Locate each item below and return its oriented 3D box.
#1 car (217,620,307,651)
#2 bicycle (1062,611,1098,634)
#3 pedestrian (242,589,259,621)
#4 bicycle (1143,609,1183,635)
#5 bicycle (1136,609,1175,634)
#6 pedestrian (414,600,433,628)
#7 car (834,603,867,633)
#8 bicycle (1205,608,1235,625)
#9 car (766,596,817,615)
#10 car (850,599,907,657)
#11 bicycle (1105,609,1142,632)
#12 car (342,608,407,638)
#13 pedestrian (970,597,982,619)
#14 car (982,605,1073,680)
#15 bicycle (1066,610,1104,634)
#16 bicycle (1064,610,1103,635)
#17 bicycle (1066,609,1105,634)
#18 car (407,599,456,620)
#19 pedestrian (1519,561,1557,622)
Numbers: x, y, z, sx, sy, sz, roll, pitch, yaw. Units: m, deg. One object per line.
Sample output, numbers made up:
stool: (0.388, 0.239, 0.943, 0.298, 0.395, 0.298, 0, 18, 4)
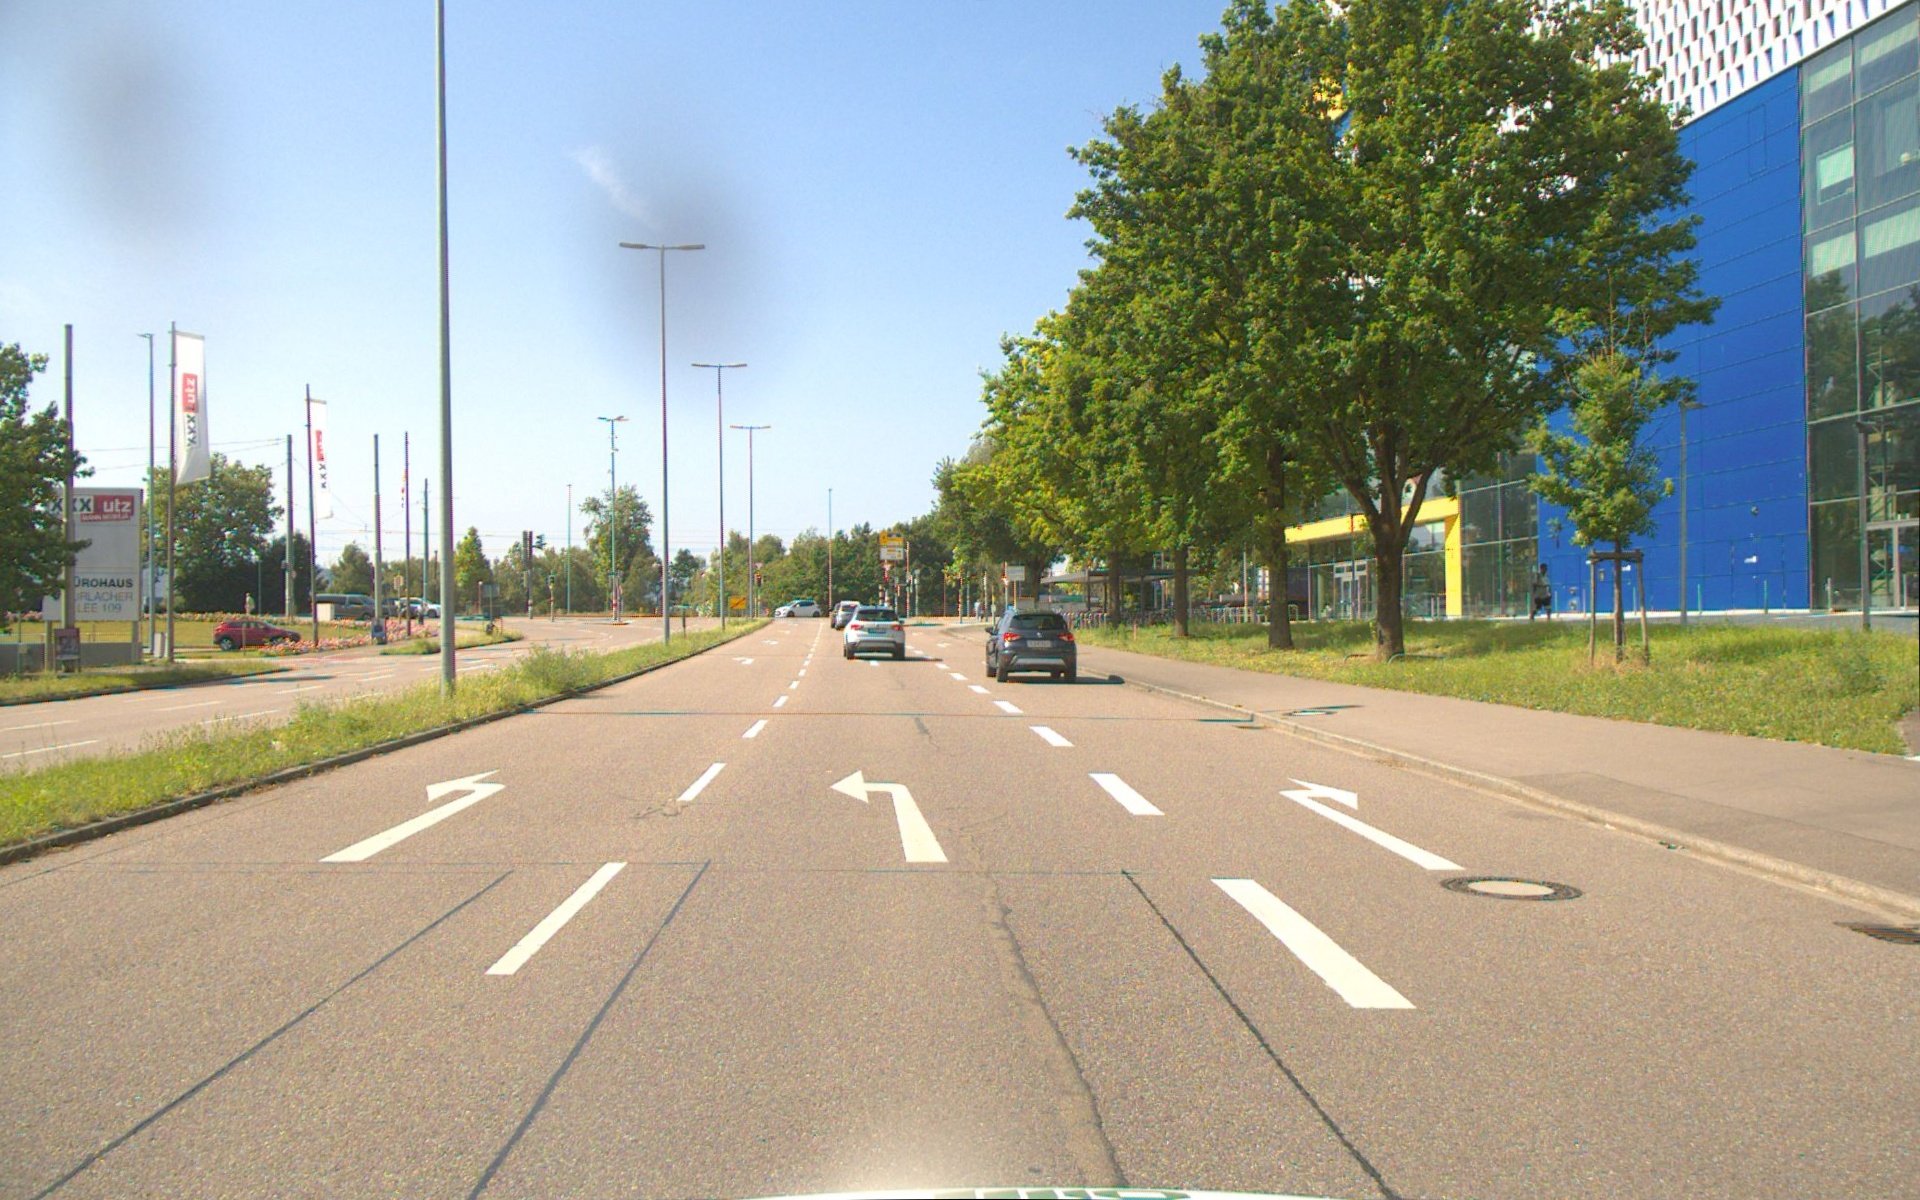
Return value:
car: (-37.749, 1.942, 89.518, 4.106, 1.634, 1.822, 0, -2, -10)
bicycle: (5.963, 1.111, 82.040, 1.724, 1.115, 0.451, -1, 0, -5)
pedestrian: (-45.844, 0.327, 106.864, 0.701, 2.007, 0.918, -1, -2, 0)
bicycle: (9.177, 0.995, 74.694, 1.724, 1.115, 0.451, -1, 0, -5)
bicycle: (8.971, 0.991, 75.903, 1.724, 1.115, 0.451, -1, 0, -5)
pedestrian: (-34.316, 0.891, 105.861, 0.822, 1.737, 0.906, -1, 0, 7)
car: (-6.157, 0.990, 92.738, 1.673, 1.600, 4.169, -1, 0, -6)
bicycle: (13.637, 0.861, 86.775, 1.530, 0.858, 0.433, 0, 0, -3)
car: (-14.504, 0.494, 142.215, 4.031, 1.574, 1.781, 0, -1, -31)
car: (-2.424, 0.792, 48.813, 1.598, 1.524, 3.867, 0, 2, -4)
bicycle: (8.019, 1.008, 80.995, 1.724, 1.115, 0.451, -1, 0, -5)
car: (-40.525, 1.598, 114.510, 3.903, 1.959, 1.817, 1, 1, 17)
pedestrian: (1.147, 0.601, 119.282, 0.756, 1.537, 1.008, -1, 1, 6)
car: (1.417, 0.886, 35.956, 1.637, 1.550, 3.374, 0, 0, -4)
bicycle: (5.904, 1.045, 78.383, 1.724, 1.115, 0.451, -1, 0, -5)
bicycle: (5.704, 1.018, 76.176, 1.724, 1.115, 0.451, -1, 0, -5)
bicycle: (5.743, 0.965, 75.624, 1.724, 1.115, 0.451, -1, 0, -5)
car: (-39.837, 0.744, 124.734, 3.281, 1.526, 1.406, 0, -2, -9)
pedestrian: (15.815, -0.228, 45.251, 0.675, 1.640, 0.770, -1, 0, -8)
